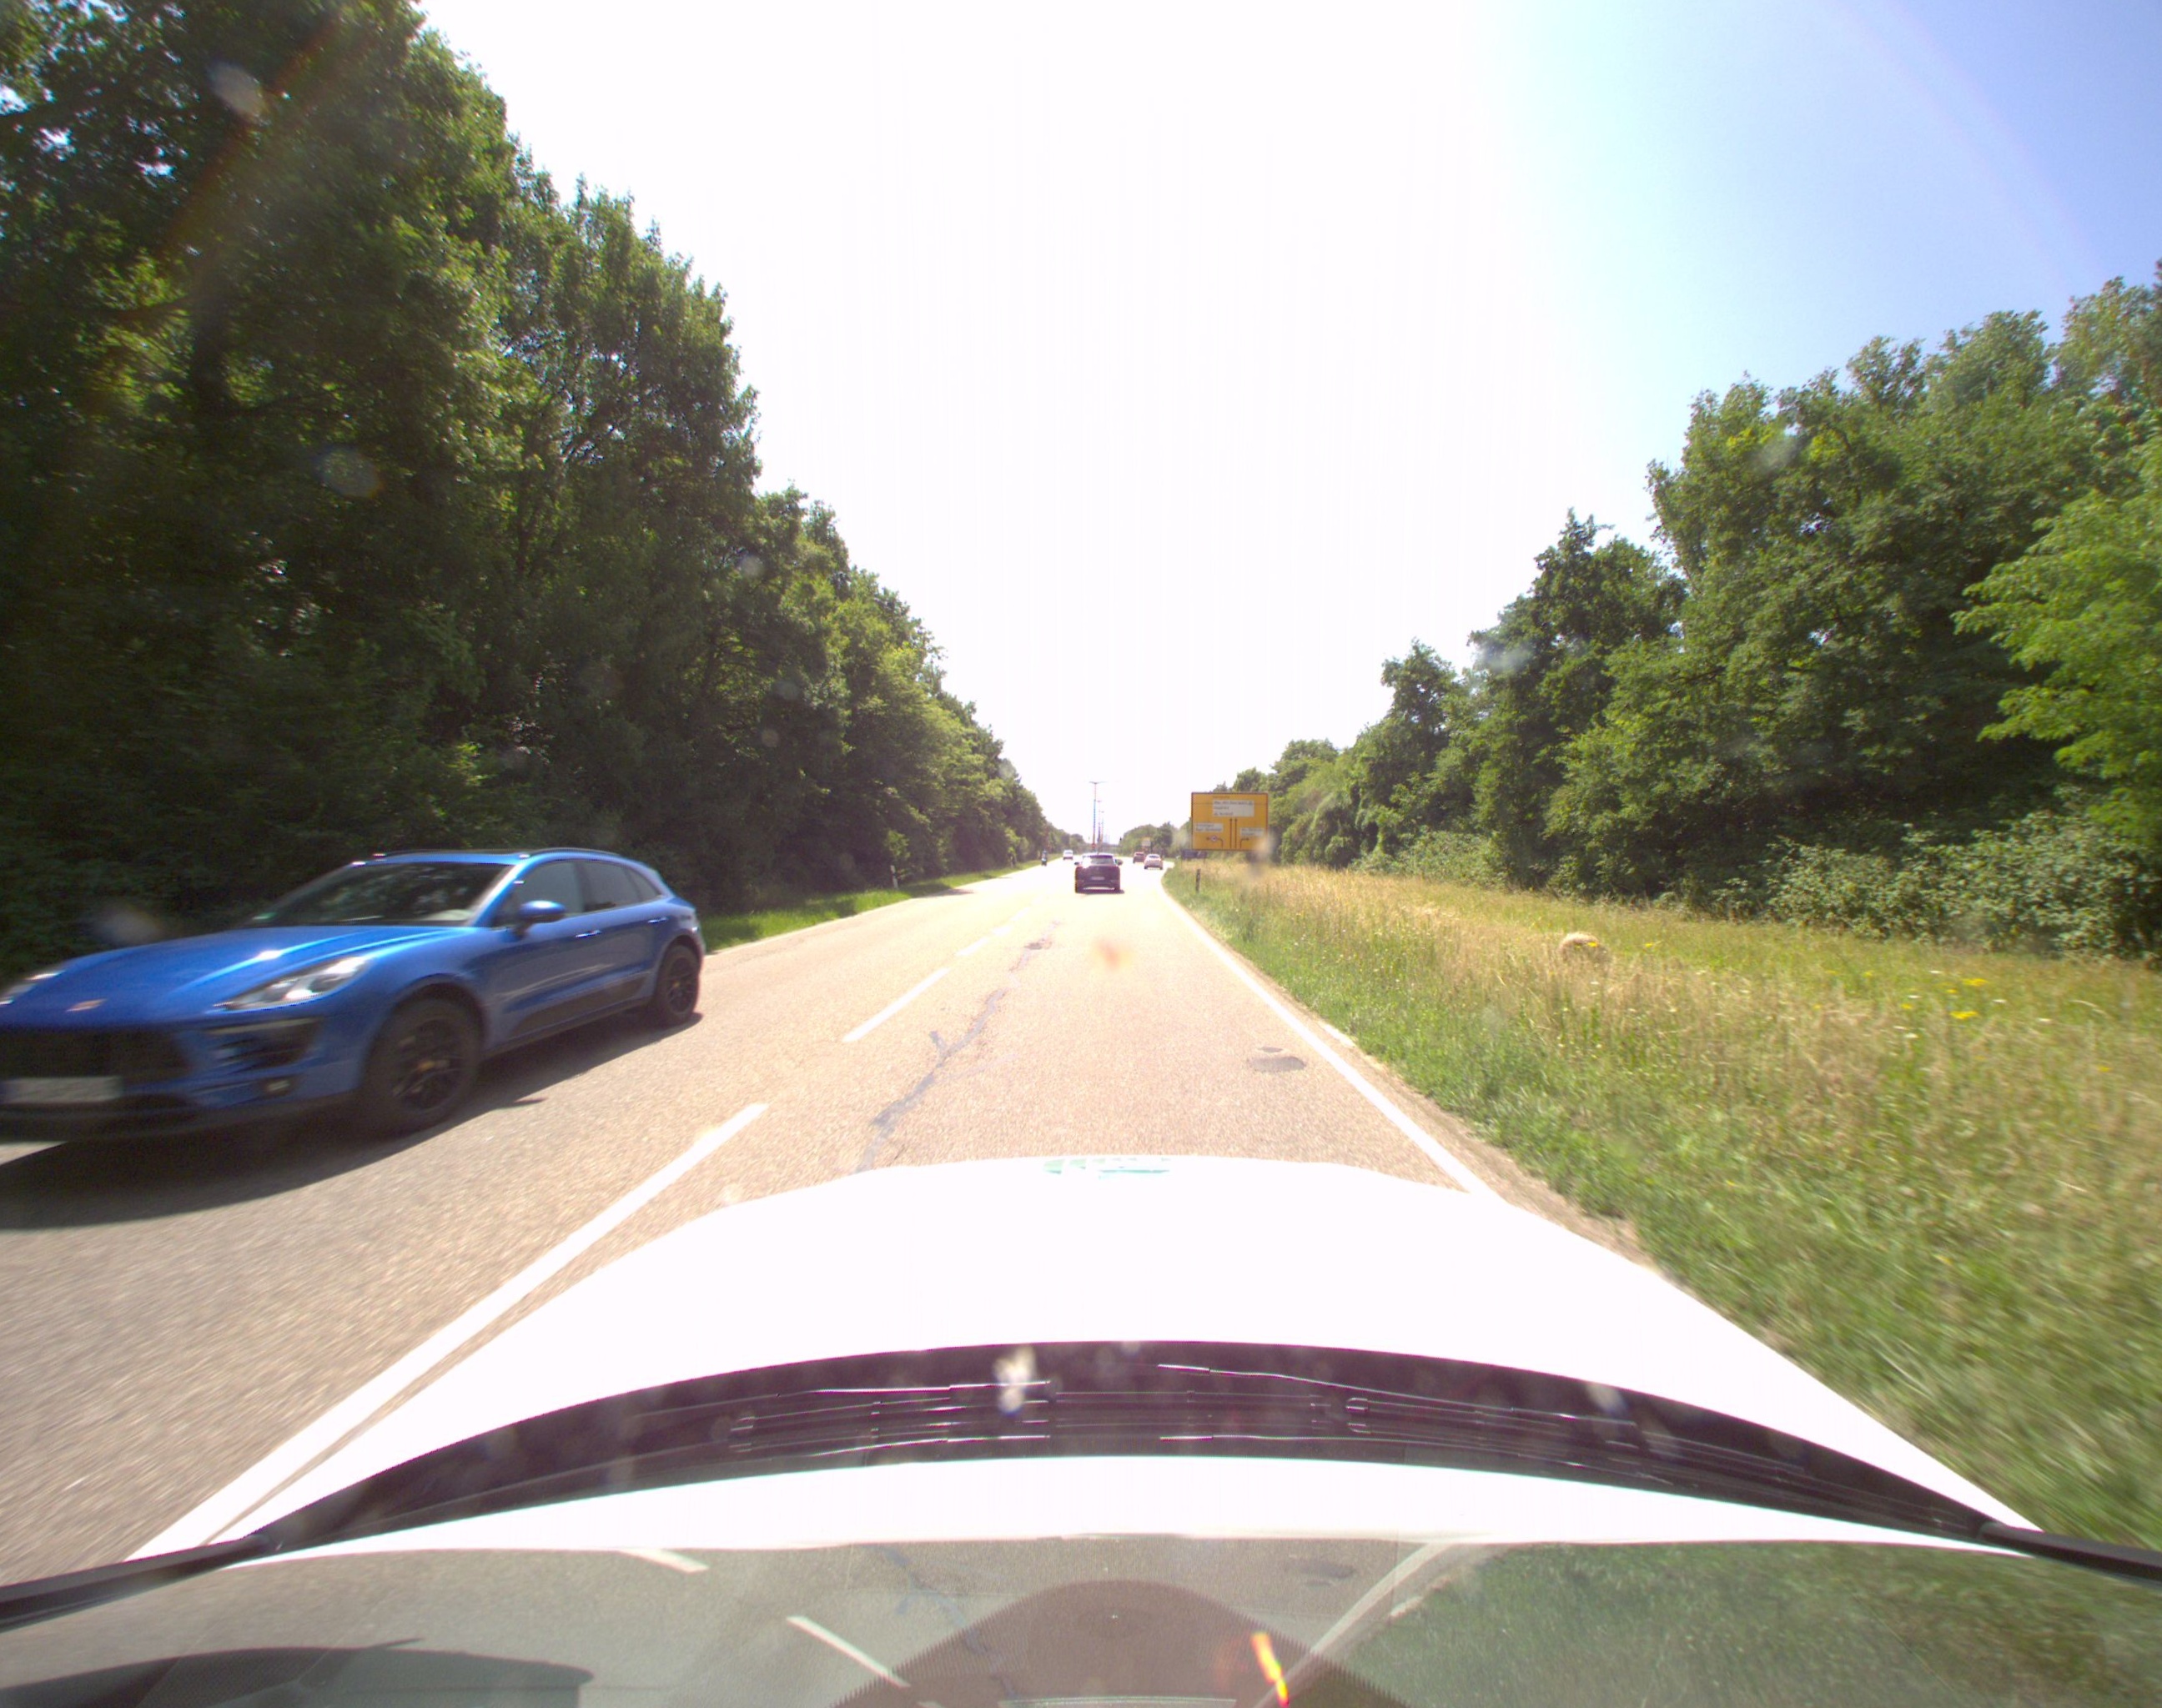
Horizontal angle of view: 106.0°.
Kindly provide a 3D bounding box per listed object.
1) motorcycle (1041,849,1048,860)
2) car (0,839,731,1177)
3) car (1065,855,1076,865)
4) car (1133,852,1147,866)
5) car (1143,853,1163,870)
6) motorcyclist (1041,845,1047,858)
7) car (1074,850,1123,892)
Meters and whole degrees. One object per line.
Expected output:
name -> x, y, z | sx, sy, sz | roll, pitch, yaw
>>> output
motorcycle -> -4.204, 0.049, 93.786 | 0.668, 1.174, 2.230 | 0, 0, -1
car -> -4.568, 0.743, 6.131 | 1.816, 1.590, 4.420 | -1, 0, 1
car -> -1.800, 1.085, 142.039 | 1.726, 1.688, 4.096 | -1, 0, 1
car -> 8.958, 0.753, 123.856 | 1.749, 1.929, 4.001 | 2, 0, 1
car -> 7.070, 0.748, 80.182 | 1.790, 1.583, 4.003 | -1, 0, 3
motorcyclist -> -4.202, -0.295, 93.600 | 0.668, 1.475, 0.813 | 0, 0, -2
car -> 0.637, 0.664, 32.565 | 1.750, 1.556, 3.998 | 1, 0, -1
